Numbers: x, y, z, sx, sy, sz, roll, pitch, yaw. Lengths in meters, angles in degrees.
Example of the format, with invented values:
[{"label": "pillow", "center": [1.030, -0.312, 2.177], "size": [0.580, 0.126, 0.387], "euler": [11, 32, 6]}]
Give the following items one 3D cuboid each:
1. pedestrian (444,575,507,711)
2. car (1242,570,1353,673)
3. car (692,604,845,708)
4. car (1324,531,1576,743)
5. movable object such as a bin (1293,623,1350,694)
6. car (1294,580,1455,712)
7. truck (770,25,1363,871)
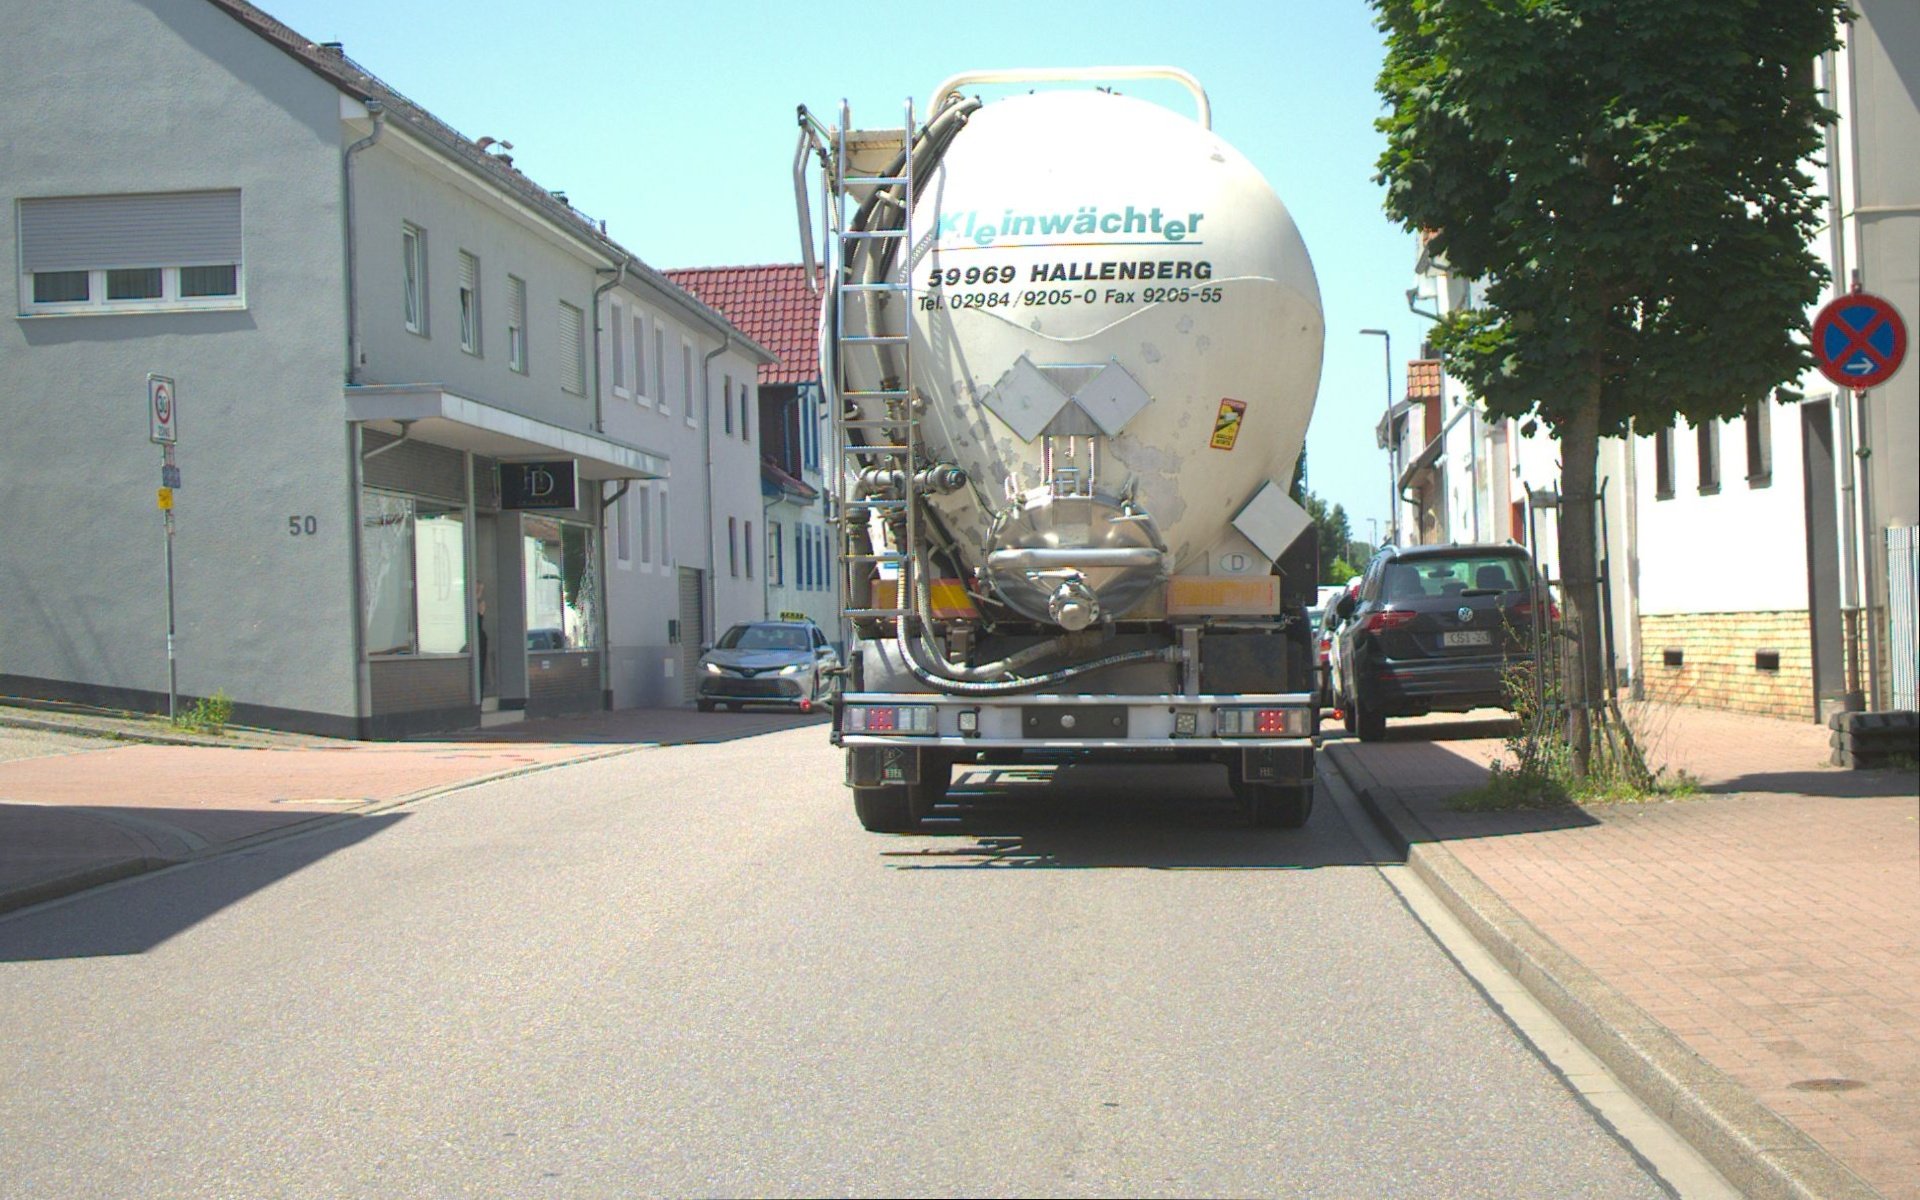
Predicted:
[{"label": "pedestrian", "center": [-6.065, 0.538, 43.018], "size": [0.624, 1.679, 0.771], "euler": [-1, -1, 4]}, {"label": "car", "center": [6.822, 0.444, 69.883], "size": [1.946, 1.964, 4.784], "euler": [-2, -1, 3]}, {"label": "car", "center": [-2.987, 0.871, 54.539], "size": [1.808, 1.552, 4.564], "euler": [1, -1, 5]}, {"label": "car", "center": [4.199, 0.294, 30.037], "size": [1.802, 1.608, 4.547], "euler": [-3, 0, 4]}, {"label": "movable object such as a bin", "center": [5.463, 0.884, 51.940], "size": [0.656, 1.031, 0.683], "euler": [-4, -1, 20]}, {"label": "car", "center": [5.119, 0.573, 42.909], "size": [1.700, 1.442, 4.835], "euler": [-4, -1, 4]}, {"label": "truck", "center": [0.722, -0.710, 20.209], "size": [2.733, 3.947, 8.140], "euler": [1, 0, 3]}]
